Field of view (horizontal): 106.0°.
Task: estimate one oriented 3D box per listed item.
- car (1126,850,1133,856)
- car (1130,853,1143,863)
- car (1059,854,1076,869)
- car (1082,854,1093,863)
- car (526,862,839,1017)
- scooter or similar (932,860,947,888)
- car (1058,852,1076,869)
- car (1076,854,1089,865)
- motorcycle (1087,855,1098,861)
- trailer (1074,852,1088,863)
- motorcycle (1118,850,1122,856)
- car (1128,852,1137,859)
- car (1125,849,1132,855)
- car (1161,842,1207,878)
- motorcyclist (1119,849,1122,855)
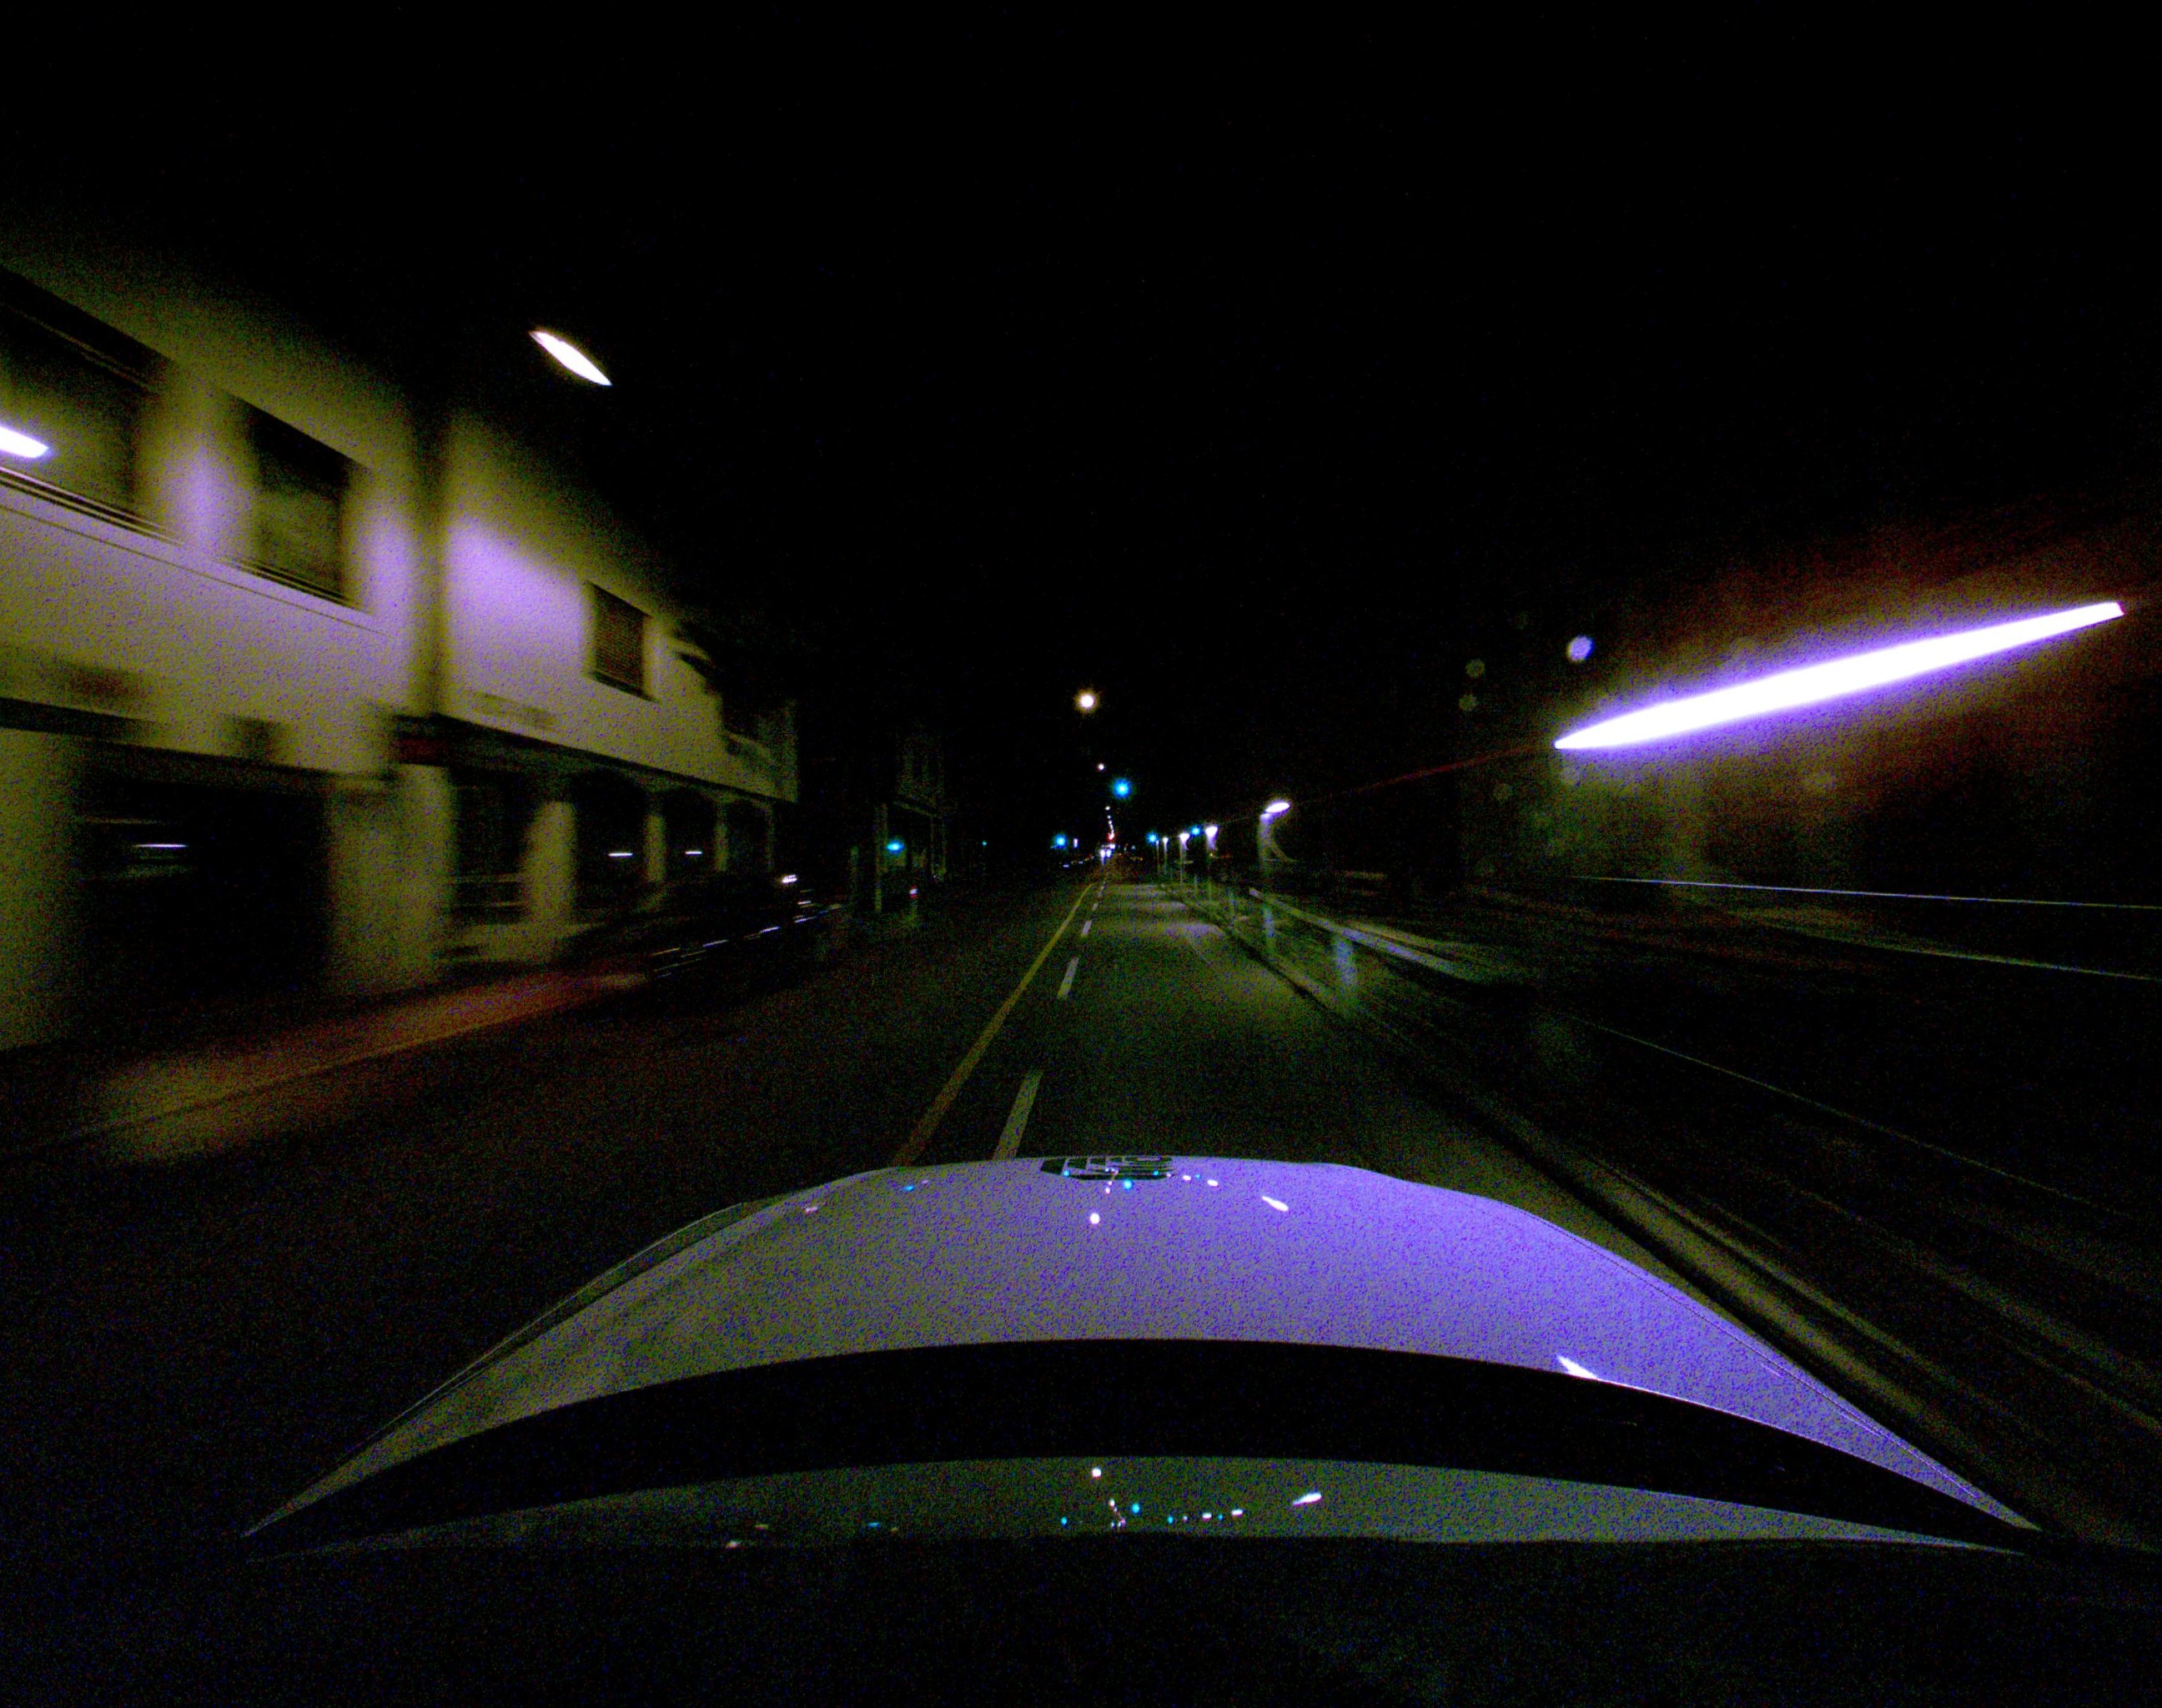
[{"bbox_3d":[13.049,-0.269,220.131,1.805,1.594,4.276,-3,1,2],"label":"car"},{"bbox_3d":[8.997,0.610,132.735,1.838,1.417,4.647,-4,-1,2],"label":"car"},{"bbox_3d":[-1.387,0.744,81.972,1.643,1.514,3.700,0,-1,-1],"label":"car"},{"bbox_3d":[1.183,0.755,143.879,1.856,1.491,4.282,0,0,2],"label":"car"},{"bbox_3d":[-4.591,0.870,10.225,1.720,1.486,4.292,0,0,1],"label":"car"},{"bbox_3d":[-6.322,0.870,36.310,0.330,1.225,1.337,0,-1,4],"label":"scooter or similar"},{"bbox_3d":[-1.525,0.677,87.713,1.843,1.650,4.669,0,1,-1],"label":"car"},{"bbox_3d":[0.176,0.819,119.496,1.808,1.484,4.348,-1,0,1],"label":"car"},{"bbox_3d":[2.223,0.715,162.410,2.180,1.131,0.720,-1,1,35],"label":"motorcycle"},{"bbox_3d":[0.036,0.602,124.172,1.629,1.639,3.446,0,-1,7],"label":"trailer"},{"bbox_3d":[10.394,-0.274,215.943,0.927,1.752,2.626,0,-1,3],"label":"motorcycle"},{"bbox_3d":[10.836,0.320,171.132,1.756,1.476,4.083,-3,1,3],"label":"car"},{"bbox_3d":[13.585,-0.483,233.286,1.861,1.526,4.152,-3,1,2],"label":"car"},{"bbox_3d":[5.633,0.310,45.102,1.905,1.827,4.900,-1,0,0],"label":"car"},{"bbox_3d":[10.388,-0.489,215.906,0.845,1.752,0.806,0,-1,2],"label":"motorcyclist"}]
